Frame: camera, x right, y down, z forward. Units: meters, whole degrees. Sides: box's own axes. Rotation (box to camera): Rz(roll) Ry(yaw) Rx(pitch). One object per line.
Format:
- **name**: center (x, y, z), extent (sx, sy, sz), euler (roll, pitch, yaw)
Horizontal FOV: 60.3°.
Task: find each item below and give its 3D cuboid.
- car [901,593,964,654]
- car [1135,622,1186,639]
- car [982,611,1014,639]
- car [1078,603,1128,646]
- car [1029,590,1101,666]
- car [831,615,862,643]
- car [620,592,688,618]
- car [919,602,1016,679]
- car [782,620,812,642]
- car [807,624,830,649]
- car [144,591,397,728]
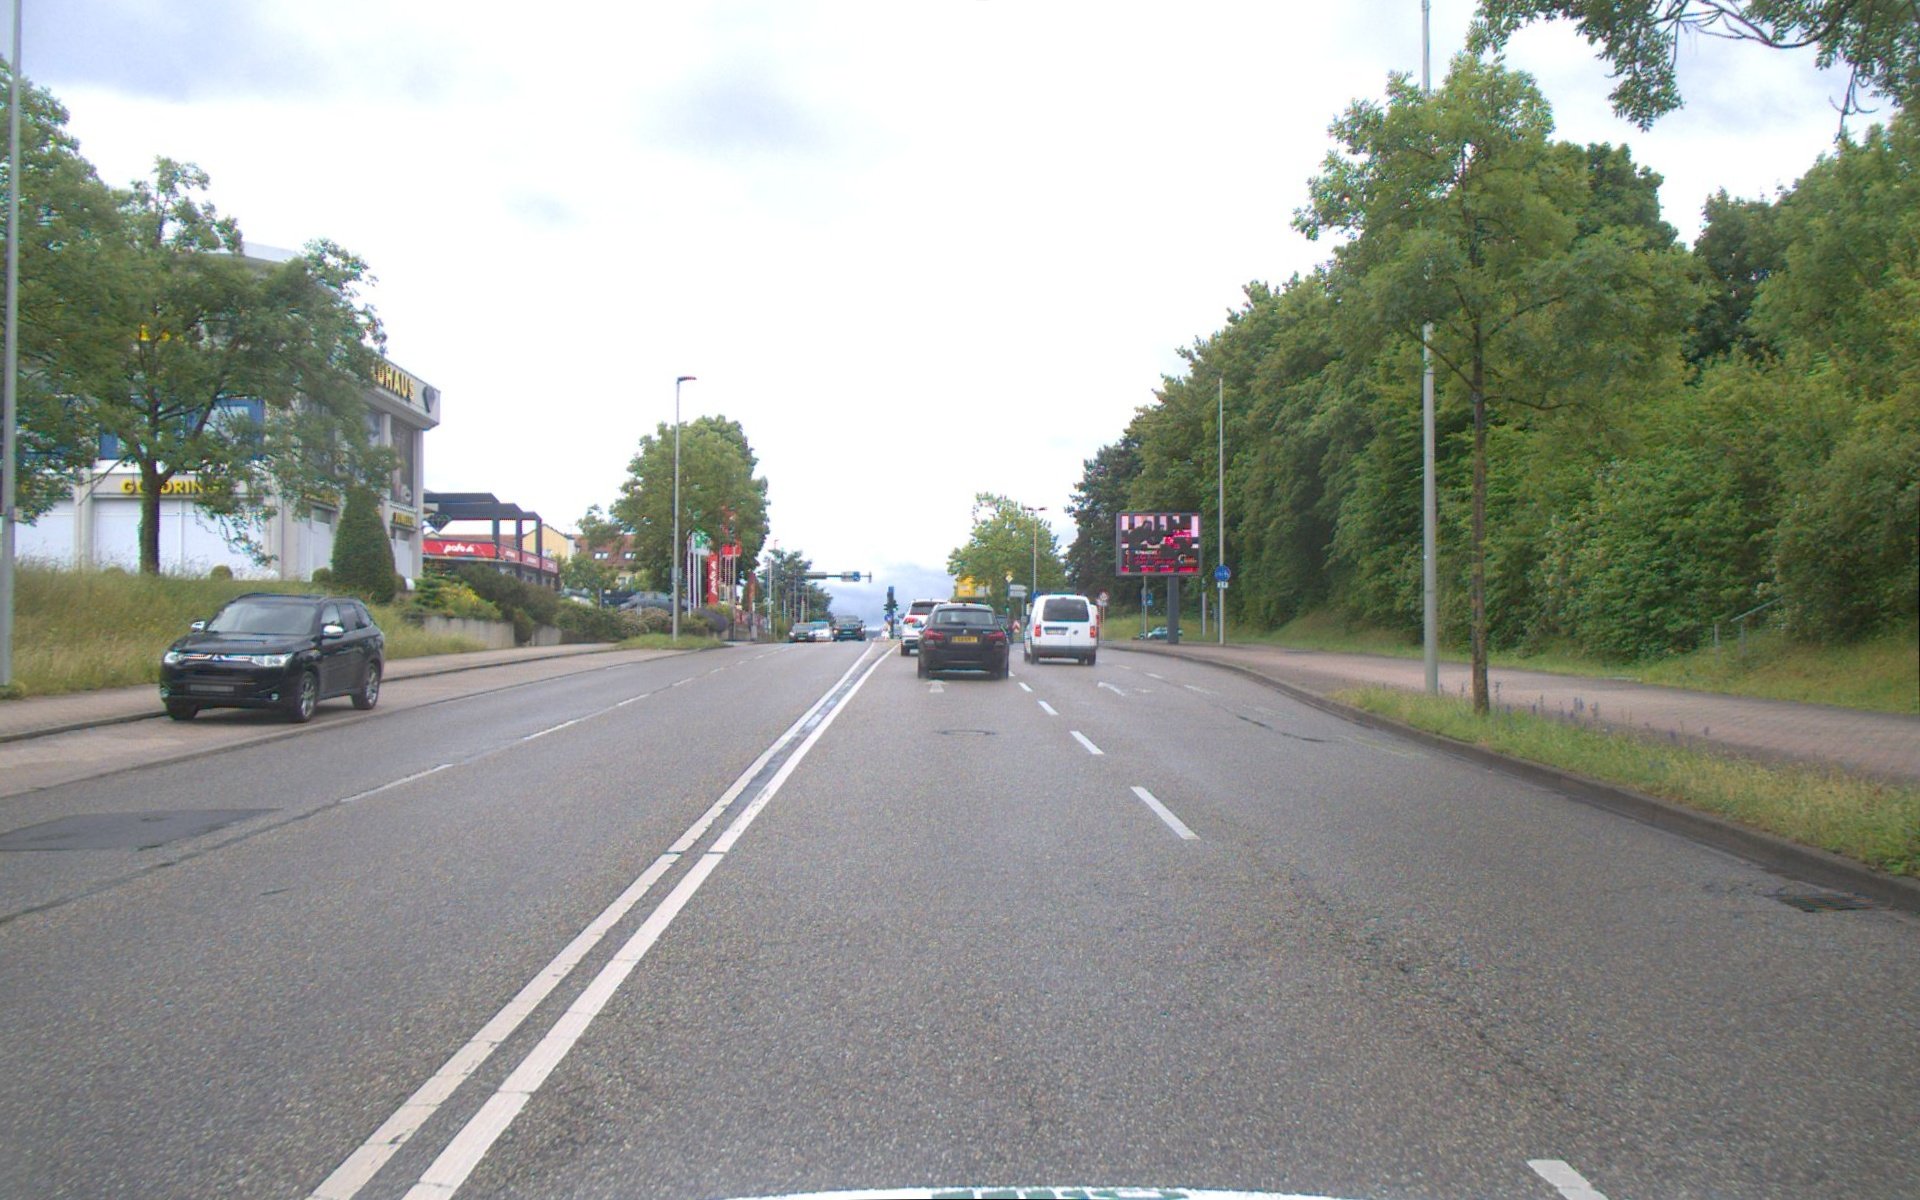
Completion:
- **car**: center (-0.793, 0.685, 49.906), extent (1.692, 1.741, 3.383), euler (1, 0, 2)
- **car**: center (16.865, 2.592, 139.000), extent (3.928, 1.316, 1.600), euler (-1, 0, -20)
- **car**: center (1.944, 1.273, 85.469), extent (1.567, 1.396, 3.680), euler (-1, 0, 0)
- **car**: center (5.976, 1.000, 69.536), extent (1.777, 1.738, 3.946), euler (0, 0, 1)
- **car**: center (2.776, 0.722, 44.544), extent (1.705, 1.902, 3.946), euler (1, 0, 1)
- **car**: center (-6.938, 1.783, 101.244), extent (1.759, 1.611, 4.196), euler (-1, 0, -2)
- **car**: center (-17.439, 0.291, 94.406), extent (3.755, 1.508, 1.738), euler (0, -1, -9)
- **car**: center (0.186, 0.783, 33.691), extent (1.816, 1.444, 3.957), euler (1, 0, 1)
- **car**: center (-11.429, 2.176, 116.257), extent (1.756, 1.426, 4.299), euler (-1, -1, -1)
- **car**: center (-12.033, 3.079, 140.630), extent (1.760, 2.017, 4.894), euler (-1, -1, -4)
- **car**: center (-9.504, 0.753, 23.223), extent (1.691, 1.697, 4.487), euler (1, 0, -1)
